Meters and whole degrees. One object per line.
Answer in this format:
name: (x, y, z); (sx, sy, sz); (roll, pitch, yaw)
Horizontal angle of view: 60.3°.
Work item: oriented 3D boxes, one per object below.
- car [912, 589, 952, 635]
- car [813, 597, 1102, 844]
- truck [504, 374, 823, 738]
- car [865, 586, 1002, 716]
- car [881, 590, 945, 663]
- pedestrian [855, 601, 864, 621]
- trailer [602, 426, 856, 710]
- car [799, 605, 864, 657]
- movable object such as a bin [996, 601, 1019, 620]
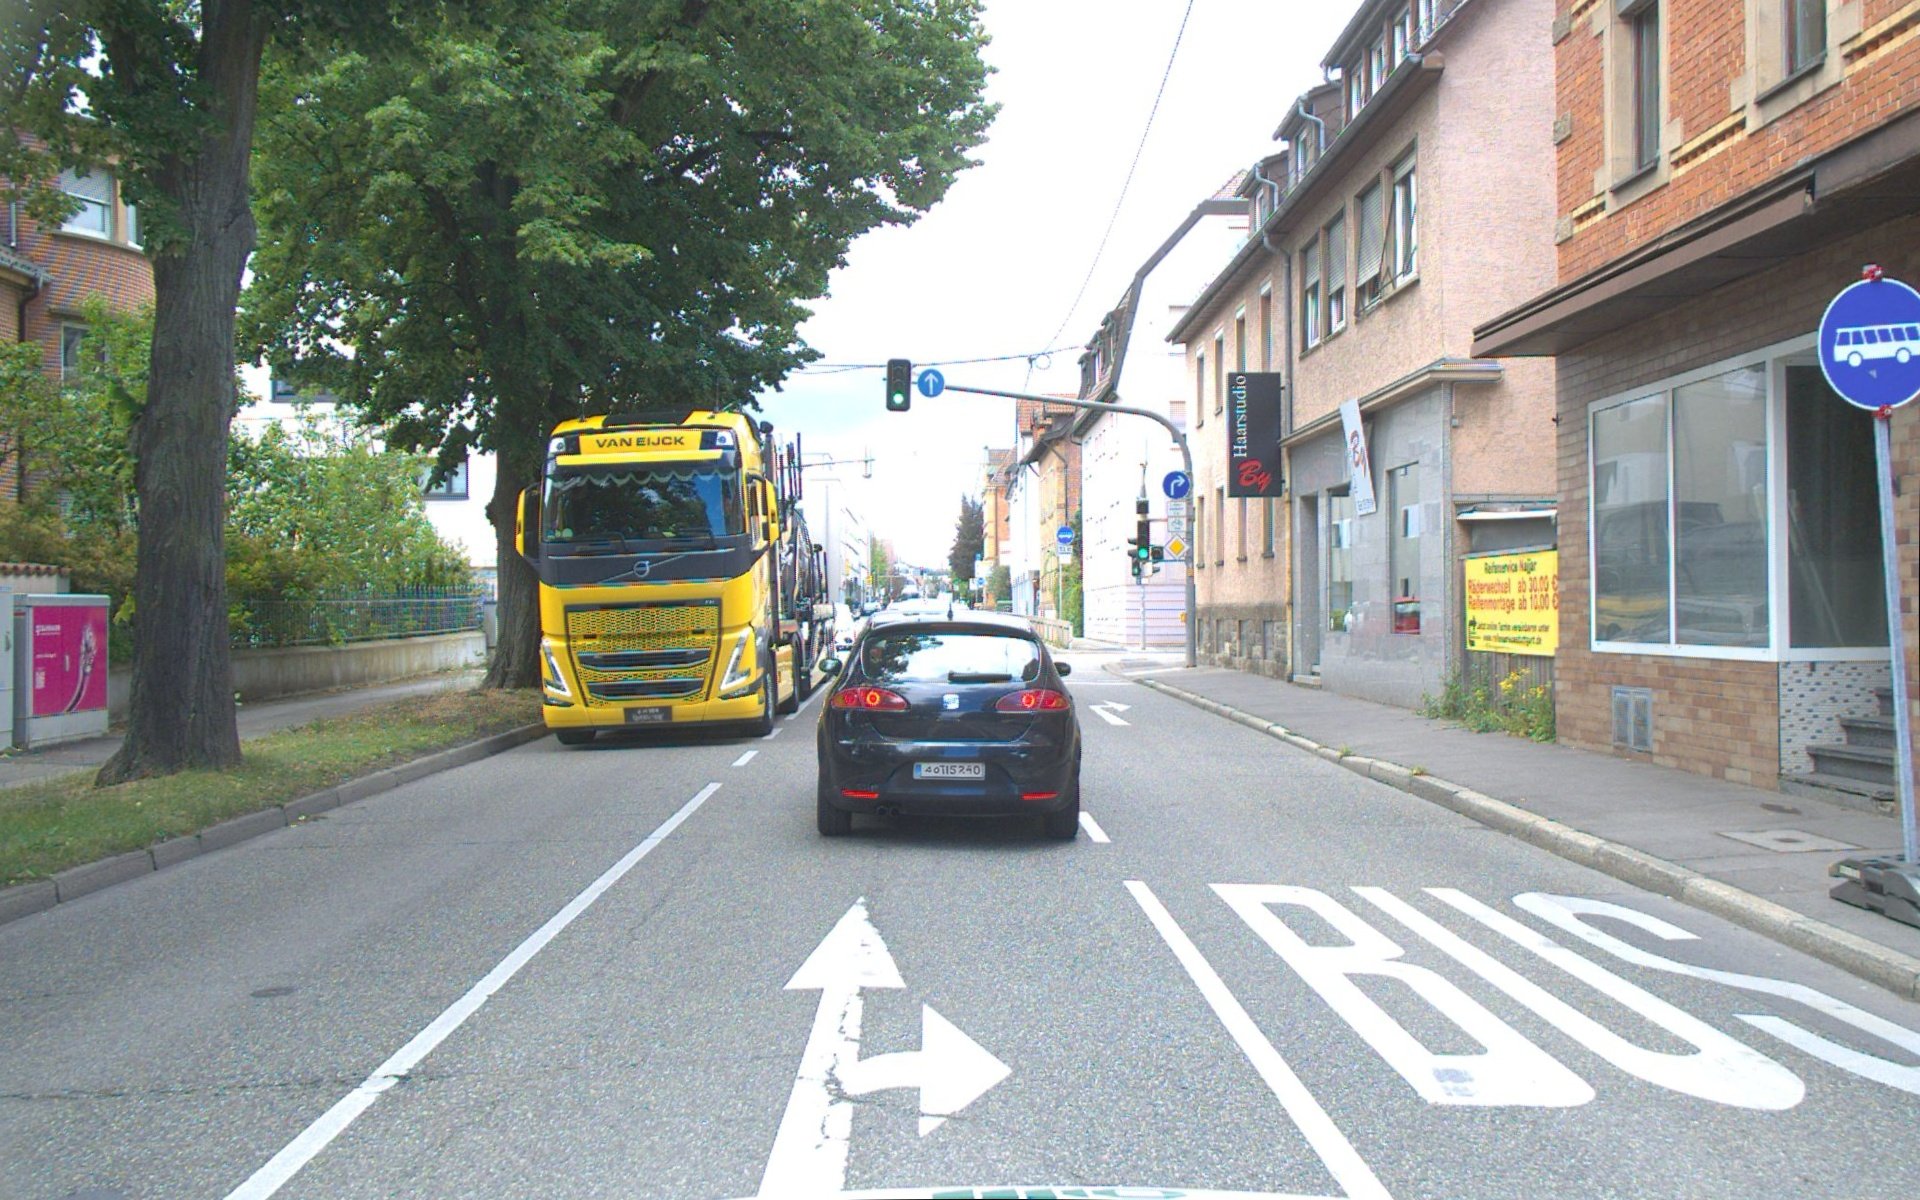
car: (-1.117, 0.479, 64.740); (1.500, 1.723, 3.692); (1, -1, -2)
car: (-0.056, 0.747, 11.933); (1.723, 1.467, 3.999); (1, -1, -1)
truck: (-3.473, -0.426, 21.462); (2.786, 3.849, 7.667); (1, -1, -1)
car: (-0.408, 0.700, 24.000); (1.805, 1.723, 3.998); (1, -1, -2)
car: (-1.166, 0.649, 41.053); (1.500, 1.723, 3.692); (1, -1, -2)
pedestrian: (-8.626, 0.949, 141.668); (0.716, 1.759, 0.859); (1, -1, -2)
trailer: (-3.630, -0.371, 29.976); (2.800, 3.875, 14.387); (1, -1, -1)
car: (-4.048, 0.969, 52.589); (1.731, 1.495, 4.225); (-3, -1, -1)
movable object such as a bin: (3.794, 0.838, 133.281); (1.781, 1.462, 1.992); (1, -1, -1)
